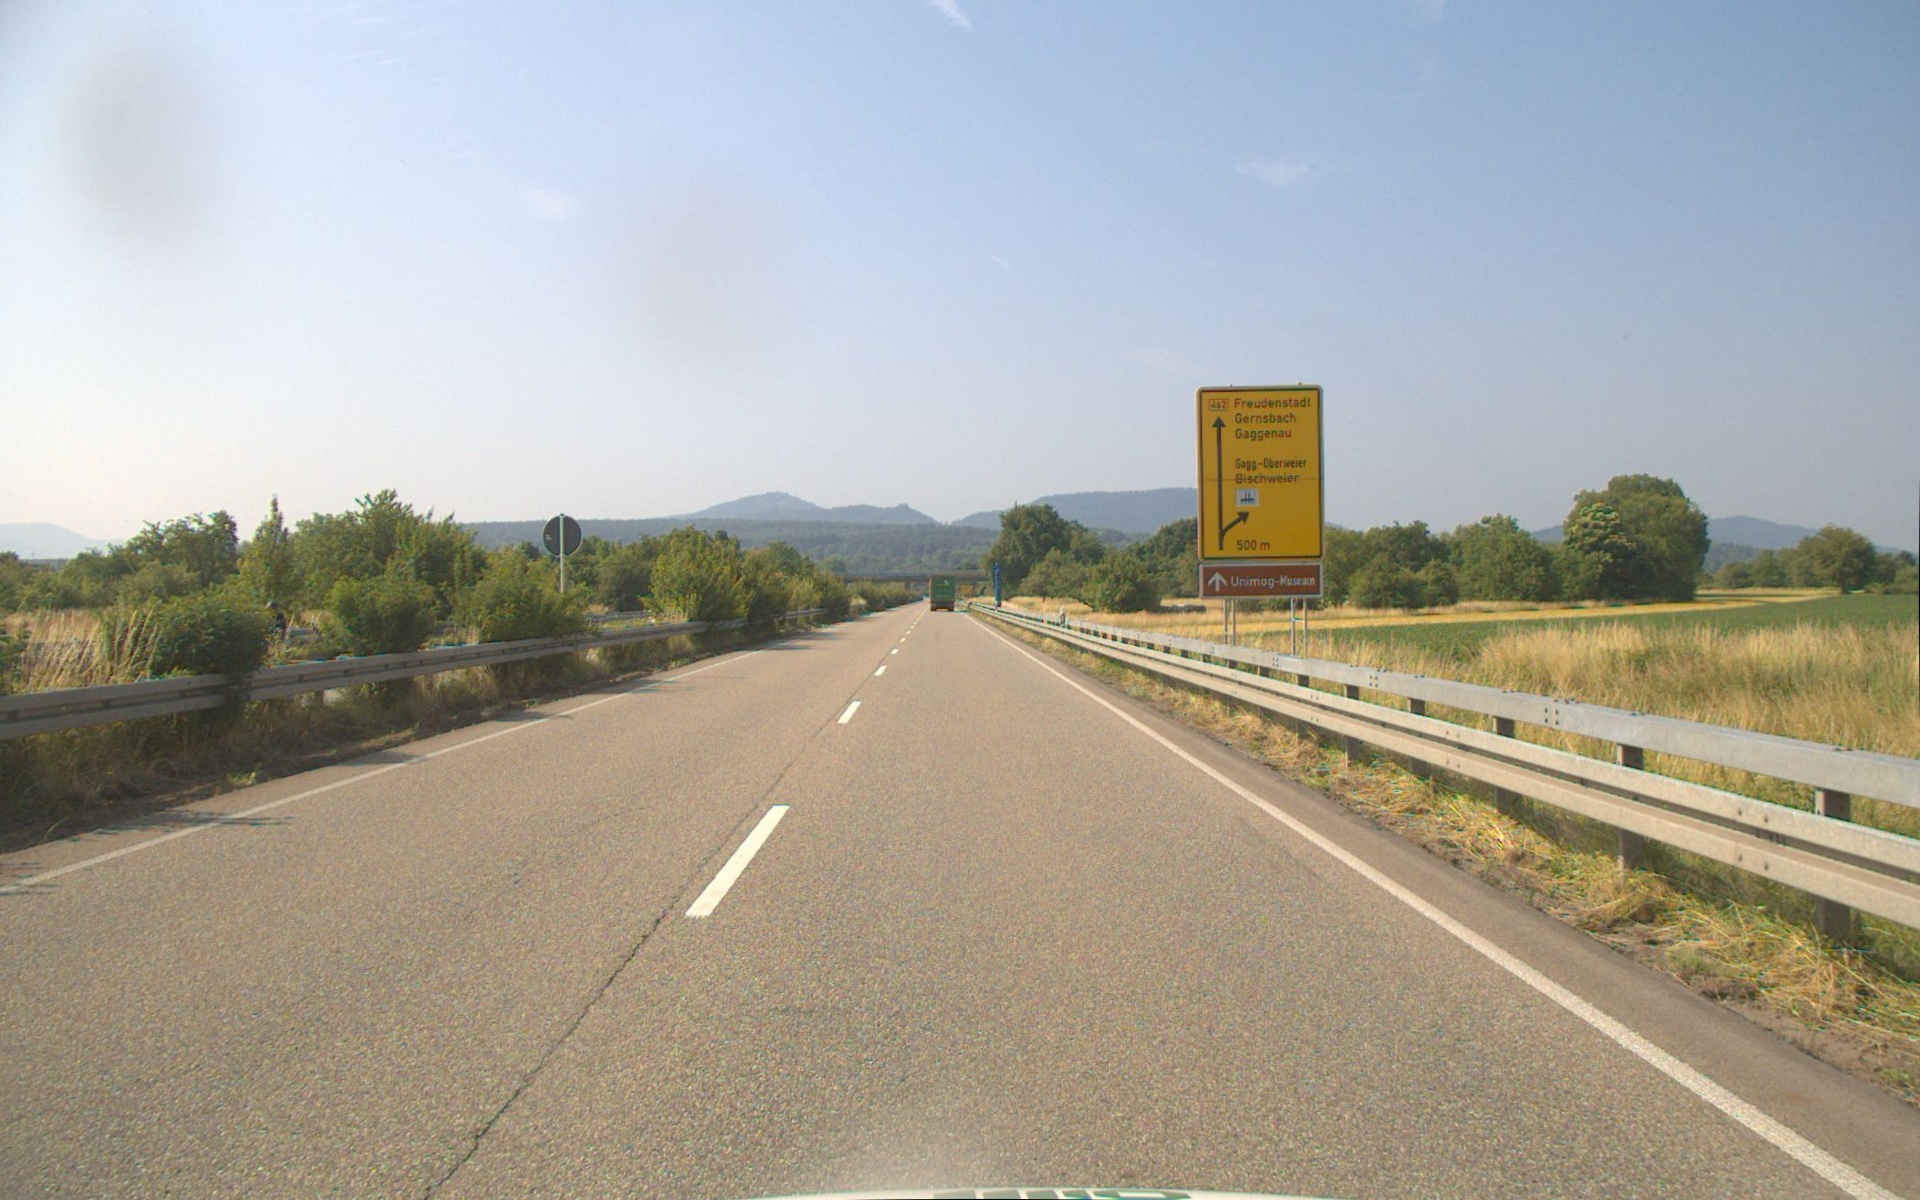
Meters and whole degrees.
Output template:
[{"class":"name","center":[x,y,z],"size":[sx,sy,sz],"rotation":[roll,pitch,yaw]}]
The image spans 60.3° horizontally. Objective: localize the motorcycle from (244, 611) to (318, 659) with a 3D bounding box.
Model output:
[{"class":"motorcycle","center":[-14.937,0.758,36.459],"size":[0.690,0.981,2.284],"rotation":[-2,0,-1]}]

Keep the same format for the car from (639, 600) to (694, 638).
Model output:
[{"class":"car","center":[-11.859,0.763,67.059],"size":[1.526,1.456,4.036],"rotation":[-1,0,-1]}]

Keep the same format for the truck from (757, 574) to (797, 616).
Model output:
[{"class":"truck","center":[-16.366,-0.430,148.282],"size":[2.549,3.651,10.383],"rotation":[0,0,-1]}]

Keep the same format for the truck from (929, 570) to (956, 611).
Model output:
[{"class":"truck","center":[-1.846,-1.070,173.214],"size":[2.667,4.034,10.415],"rotation":[1,1,0]}]

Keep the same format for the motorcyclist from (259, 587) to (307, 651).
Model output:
[{"class":"motorcyclist","center":[-14.946,0.409,36.546],"size":[0.690,1.371,0.807],"rotation":[-2,0,-1]}]
